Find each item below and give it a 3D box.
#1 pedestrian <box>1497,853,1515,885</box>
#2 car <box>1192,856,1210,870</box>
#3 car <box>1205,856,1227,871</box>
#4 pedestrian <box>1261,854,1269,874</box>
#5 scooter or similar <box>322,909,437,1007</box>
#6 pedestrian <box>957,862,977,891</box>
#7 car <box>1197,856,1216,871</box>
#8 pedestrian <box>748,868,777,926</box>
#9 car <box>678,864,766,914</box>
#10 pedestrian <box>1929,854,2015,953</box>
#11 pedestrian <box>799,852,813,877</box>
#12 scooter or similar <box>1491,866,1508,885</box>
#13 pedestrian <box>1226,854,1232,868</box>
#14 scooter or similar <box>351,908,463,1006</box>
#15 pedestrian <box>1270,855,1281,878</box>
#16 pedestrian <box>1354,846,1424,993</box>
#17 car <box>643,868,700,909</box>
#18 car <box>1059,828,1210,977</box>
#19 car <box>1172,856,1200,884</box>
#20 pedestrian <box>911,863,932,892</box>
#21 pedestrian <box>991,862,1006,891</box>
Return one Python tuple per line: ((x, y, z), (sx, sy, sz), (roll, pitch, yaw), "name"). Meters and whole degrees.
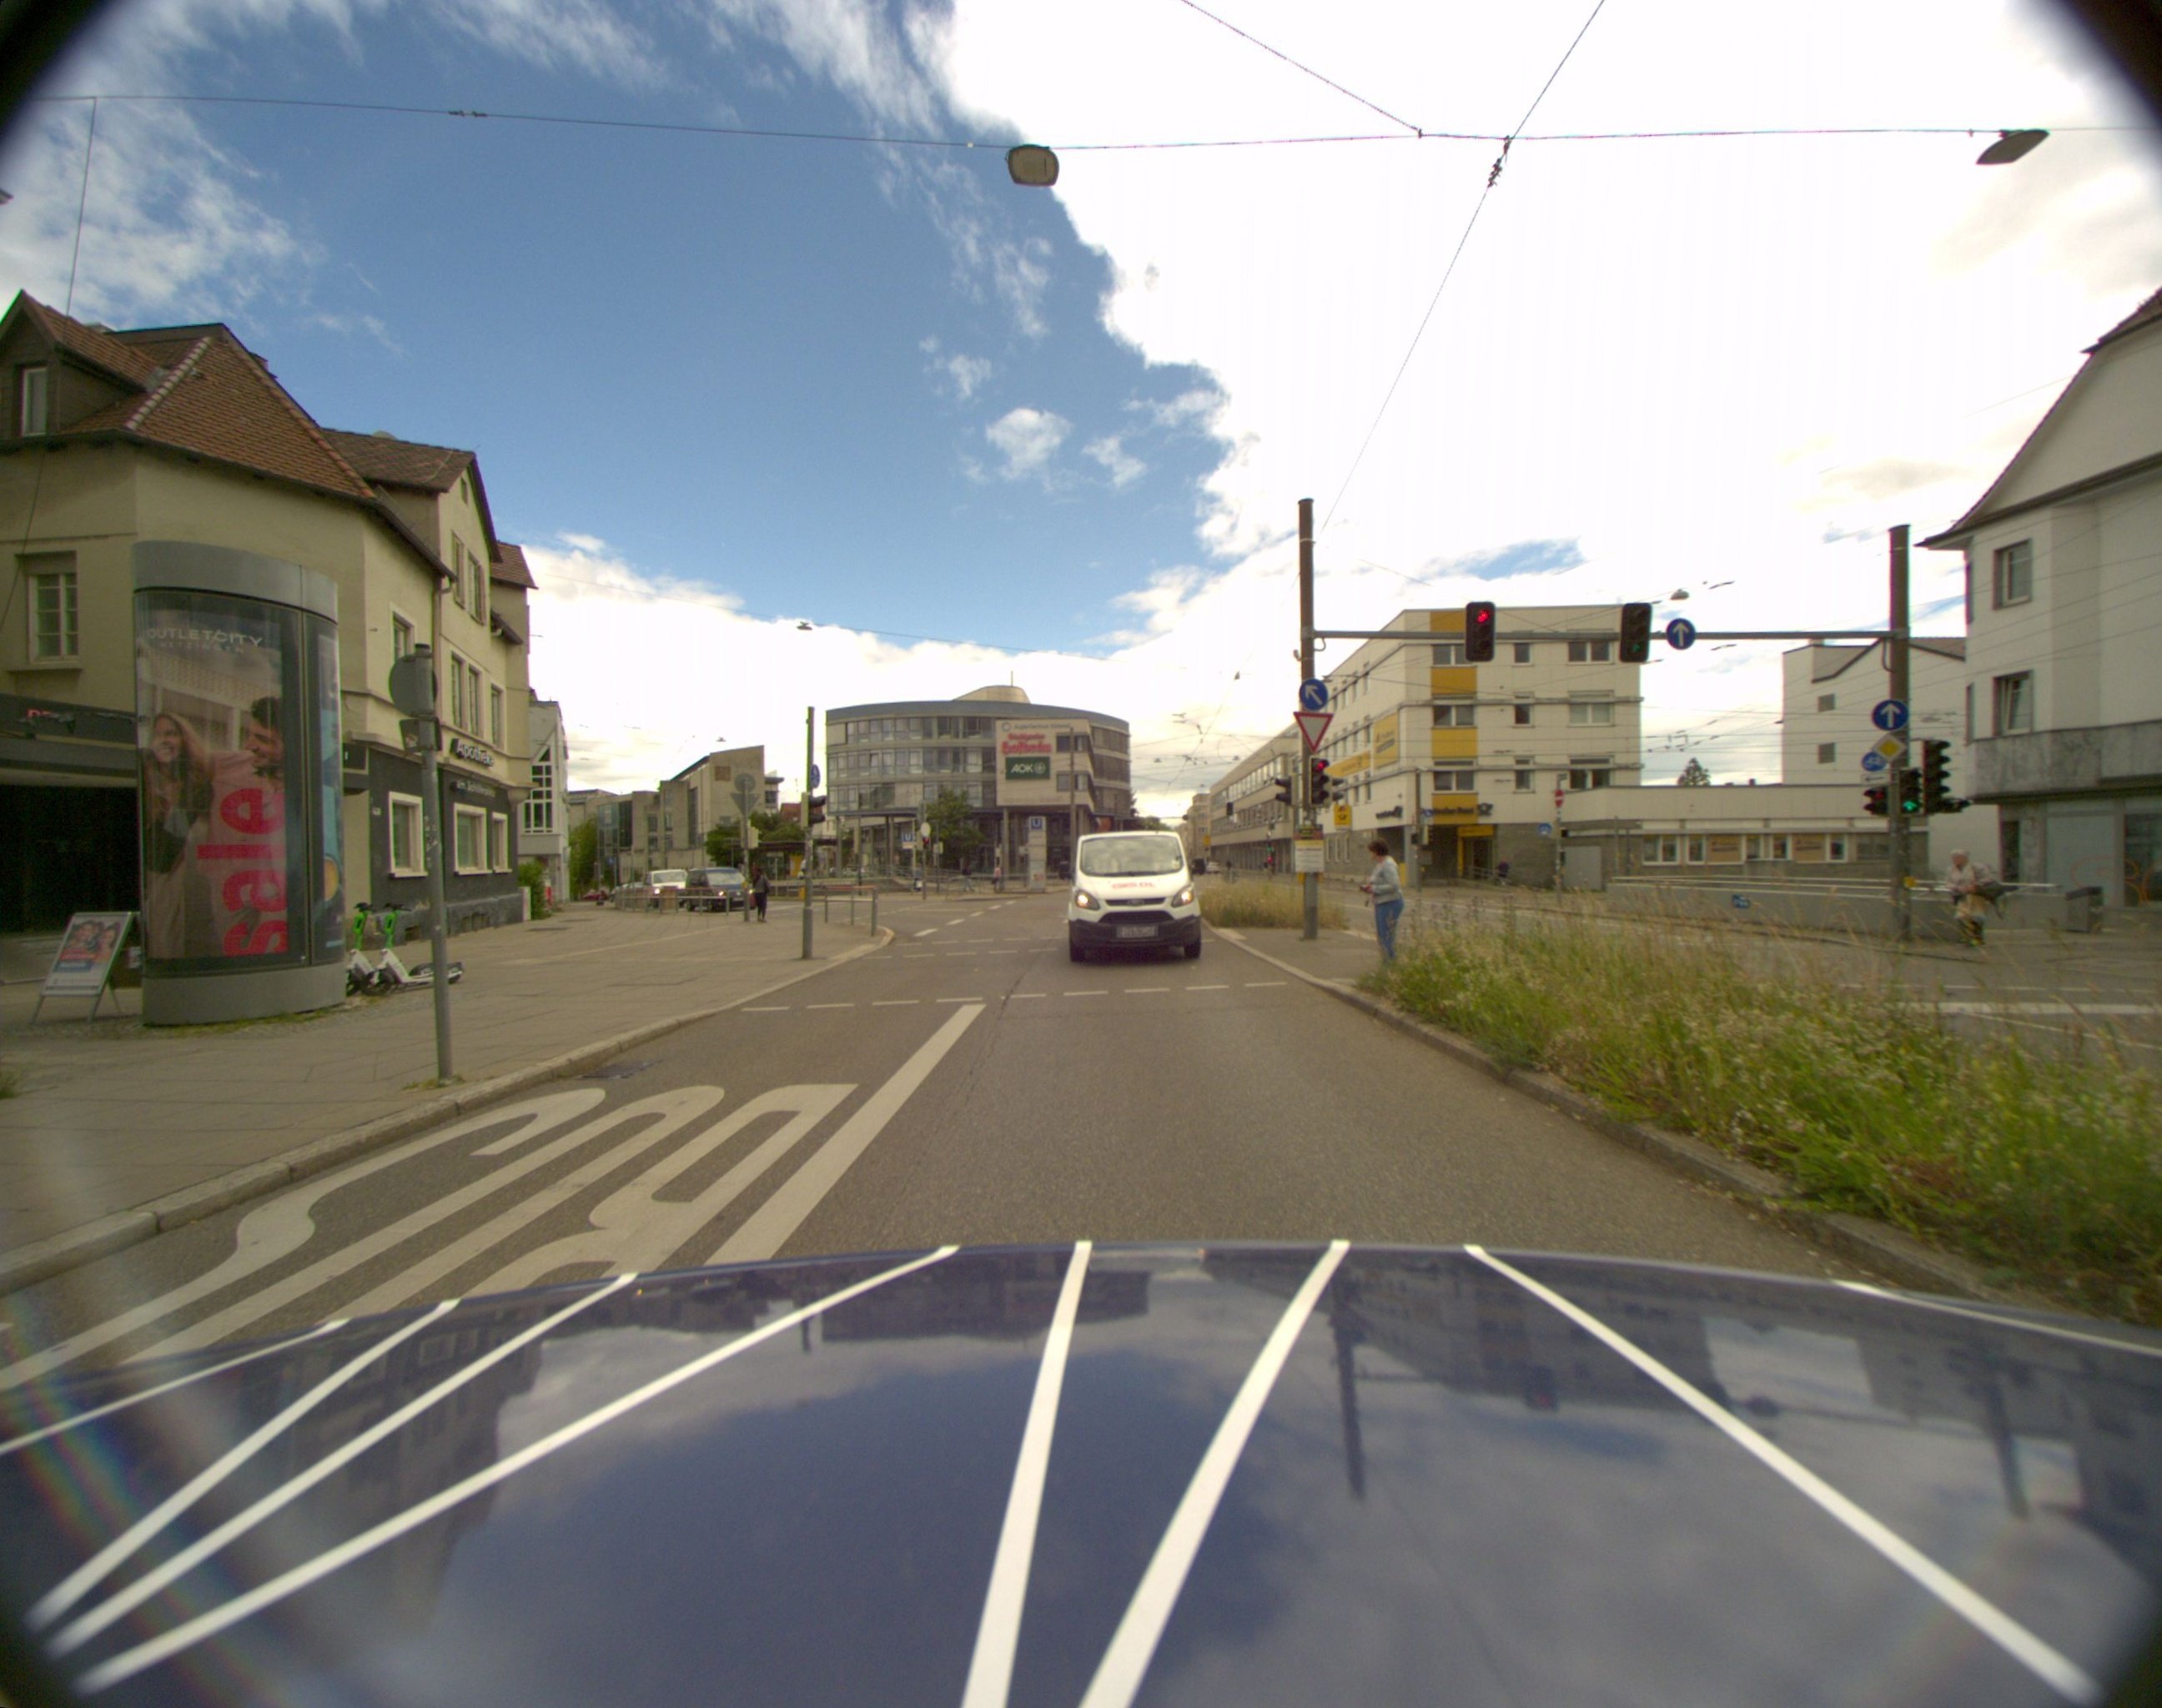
((21.820, 0.779, 39.045), (0.587, 1.625, 0.615), (-1, 0, 3), "pedestrian")
((17.743, 1.303, 112.208), (1.998, 2.002, 4.487), (-2, 0, 1), "car")
((17.765, 1.240, 100.160), (1.998, 2.002, 4.487), (-2, 0, 1), "car")
((17.508, 0.943, 72.250), (0.587, 1.792, 0.526), (-4, 0, 3), "pedestrian")
((-9.164, 1.325, 9.972), (0.315, 1.126, 1.208), (-1, 0, 4), "scooter or similar")
((-6.567, 1.293, 43.824), (0.847, 1.625, 0.644), (-4, 0, -30), "pedestrian")
((17.547, 1.276, 106.367), (1.998, 2.002, 4.487), (-2, 0, 1), "car")
((-9.189, 1.231, 21.916), (0.589, 1.612, 0.743), (-4, 0, -29), "pedestrian")
((-15.041, 1.400, 31.714), (1.884, 1.884, 4.914), (-2, 0, -43), "car")
((15.374, 0.844, 13.120), (0.702, 1.625, 0.614), (-4, 0, -8), "pedestrian")
((-20.325, 0.779, 56.135), (0.613, 1.733, 0.697), (-4, 0, 39), "pedestrian")
((21.857, 1.113, 39.671), (0.508, 0.971, 0.617), (-1, 0, 0), "scooter or similar")
((20.466, 0.963, 105.104), (0.587, 1.792, 0.526), (-4, 0, 3), "pedestrian")
((-8.816, 1.317, 9.984), (0.315, 1.126, 1.208), (-1, 0, 4), "scooter or similar")
((15.169, 0.966, 59.318), (0.587, 1.792, 0.526), (-4, 0, 3), "pedestrian")
((3.534, 0.725, 8.751), (0.504, 1.625, 0.663), (-1, 0, -3), "pedestrian")
((-20.881, 1.691, 38.669), (1.884, 1.884, 4.915), (-2, 0, -36), "car")
((0.986, 0.689, 12.878), (1.997, 2.002, 5.002), (-2, 0, 6), "car")
((7.977, 1.172, 57.917), (1.997, 2.002, 4.489), (-2, 0, 7), "car")
((-9.018, 1.317, 42.900), (0.808, 1.637, 0.886), (-1, 0, -36), "pedestrian")
((-4.820, 1.309, 44.321), (0.589, 1.625, 0.525), (-4, 0, -42), "pedestrian")
